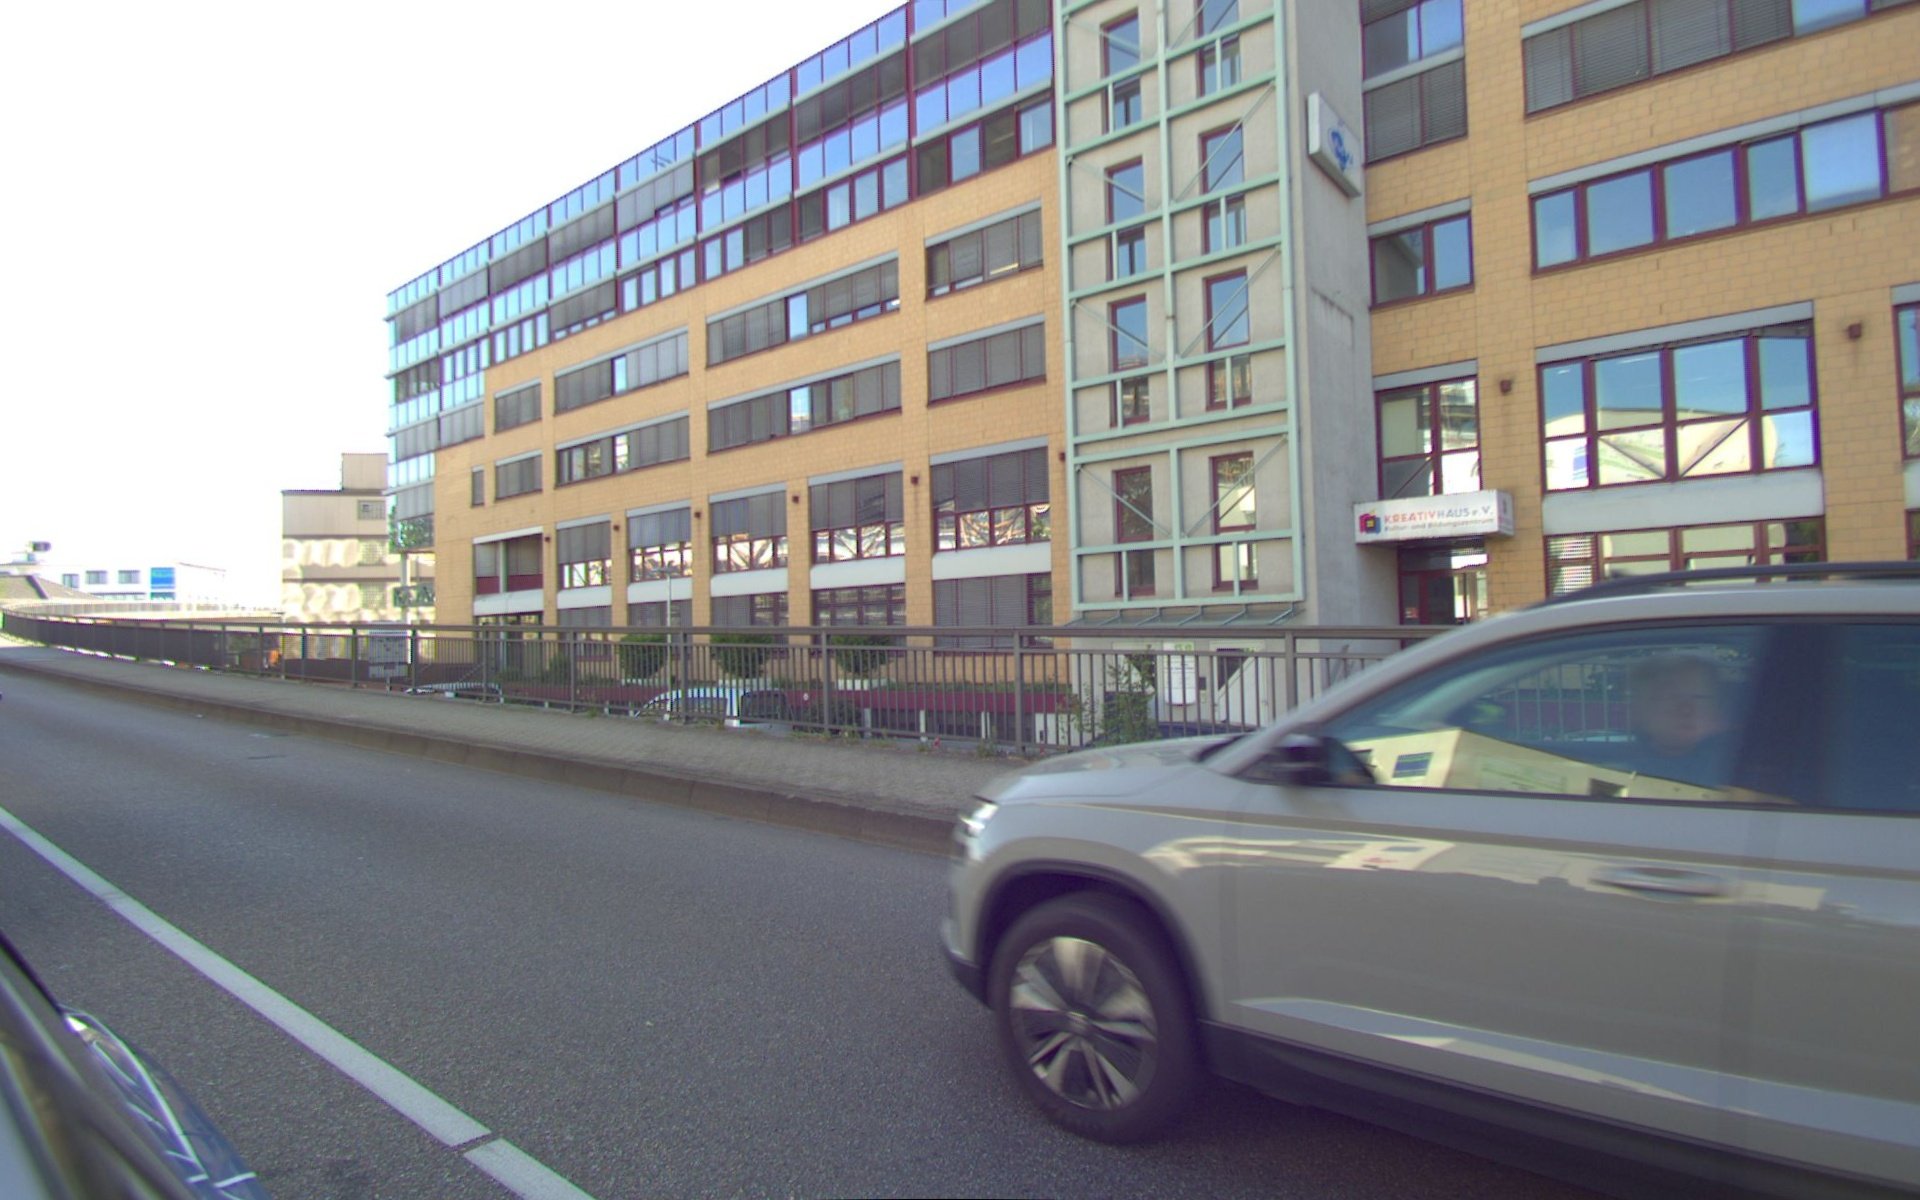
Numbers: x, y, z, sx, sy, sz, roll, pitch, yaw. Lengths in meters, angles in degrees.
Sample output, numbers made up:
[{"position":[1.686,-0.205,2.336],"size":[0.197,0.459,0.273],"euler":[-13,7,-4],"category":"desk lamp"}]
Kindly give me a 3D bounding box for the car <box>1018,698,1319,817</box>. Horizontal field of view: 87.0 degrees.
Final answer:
[{"position":[2.798,2.078,14.053],"size":[3.805,1.279,1.560],"euler":[-3,-4,39],"category":"car"}]

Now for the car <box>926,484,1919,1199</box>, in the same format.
[{"position":[1.997,0.647,2.587],"size":[3.996,1.636,1.786],"euler":[-2,-3,39],"category":"car"}]

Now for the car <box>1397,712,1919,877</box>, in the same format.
[{"position":[7.114,1.889,10.712],"size":[4.253,1.175,1.704],"euler":[-3,-4,40],"category":"car"}]

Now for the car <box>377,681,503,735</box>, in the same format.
[{"position":[-14.443,2.944,28.065],"size":[3.805,1.279,1.744],"euler":[-3,-4,39],"category":"car"}]

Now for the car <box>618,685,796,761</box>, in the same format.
[{"position":[-5.195,2.436,20.594],"size":[3.805,1.279,1.560],"euler":[-3,-4,39],"category":"car"}]
